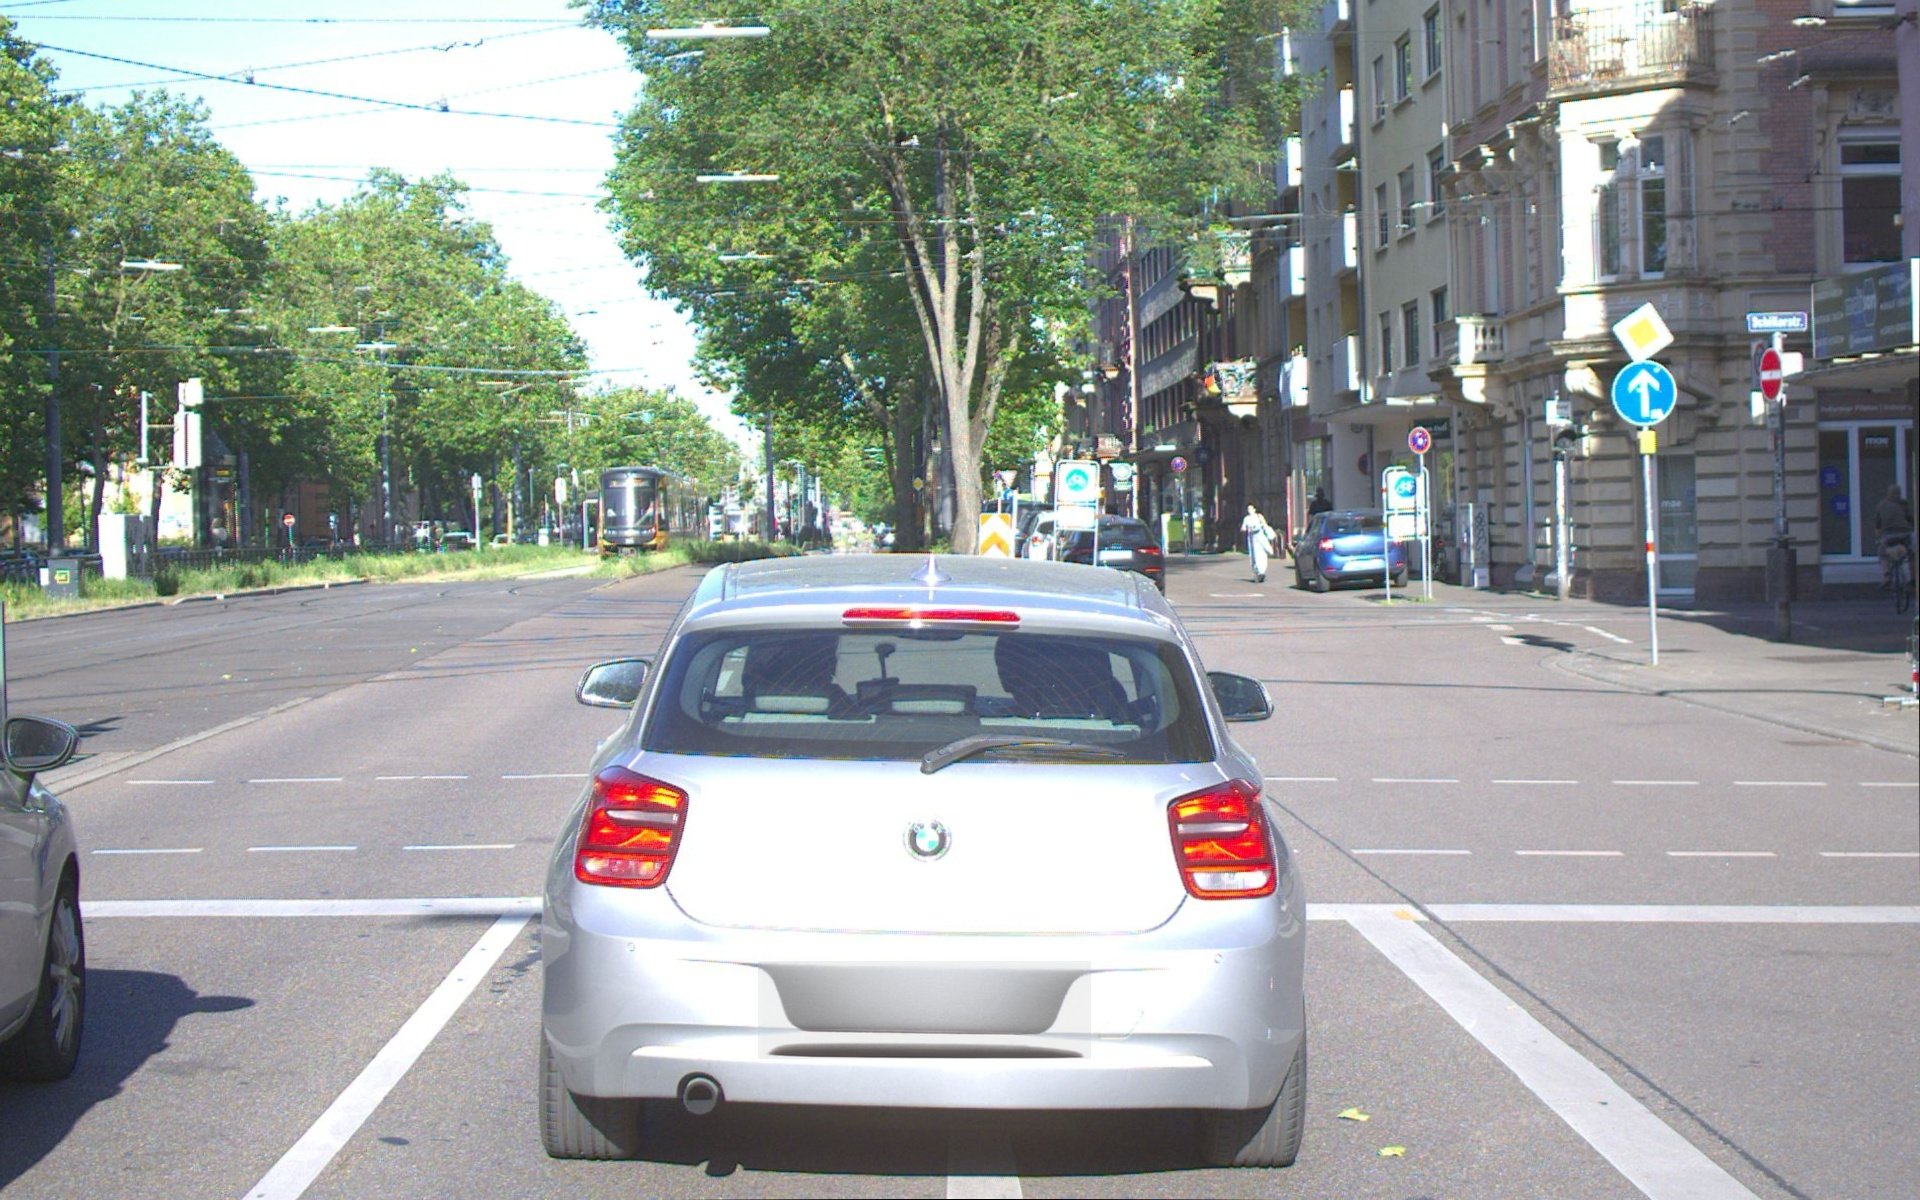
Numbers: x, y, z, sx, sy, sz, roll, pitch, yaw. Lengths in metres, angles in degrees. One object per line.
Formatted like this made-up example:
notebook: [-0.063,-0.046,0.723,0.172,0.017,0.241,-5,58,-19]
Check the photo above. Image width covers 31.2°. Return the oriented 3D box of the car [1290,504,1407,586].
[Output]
car: [7.390,-1.079,65.690,1.735,1.514,3.637,0,2,-1]

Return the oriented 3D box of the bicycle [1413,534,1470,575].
bicycle: [9.228,-0.879,65.980,0.754,0.768,1.946,-1,2,-2]

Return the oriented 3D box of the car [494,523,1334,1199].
car: [-0.122,0.547,9.190,1.740,1.462,4.000,1,2,-1]

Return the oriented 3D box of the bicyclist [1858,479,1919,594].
bicyclist: [12.341,-0.839,45.417,0.548,1.496,0.959,0,2,41]

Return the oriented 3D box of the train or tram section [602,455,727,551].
train or tram section: [-12.659,-4.210,149.089,4.005,3.852,17.490,-1,2,0]

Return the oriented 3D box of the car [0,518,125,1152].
car: [-3.032,0.564,7.814,1.609,1.462,3.891,-1,2,-5]

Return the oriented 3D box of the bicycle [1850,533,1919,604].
bicycle: [12.385,-0.422,45.454,0.654,0.900,1.335,1,2,41]

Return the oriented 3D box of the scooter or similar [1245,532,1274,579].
scooter or similar: [6.379,-0.950,73.119,0.337,0.984,1.283,0,2,18]

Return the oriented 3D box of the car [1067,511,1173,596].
car: [2.759,-0.833,59.858,1.735,1.428,3.678,0,2,1]

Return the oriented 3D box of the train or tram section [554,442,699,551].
train or tram section: [-12.577,-3.951,131.667,3.969,3.852,17.490,-1,2,0]

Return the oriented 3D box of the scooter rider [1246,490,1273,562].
scooter rider: [6.365,-1.572,73.017,0.465,1.500,0.810,-1,1,11]

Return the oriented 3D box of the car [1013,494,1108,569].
car: [2.054,-1.424,70.875,1.724,1.501,3.555,0,2,-2]
